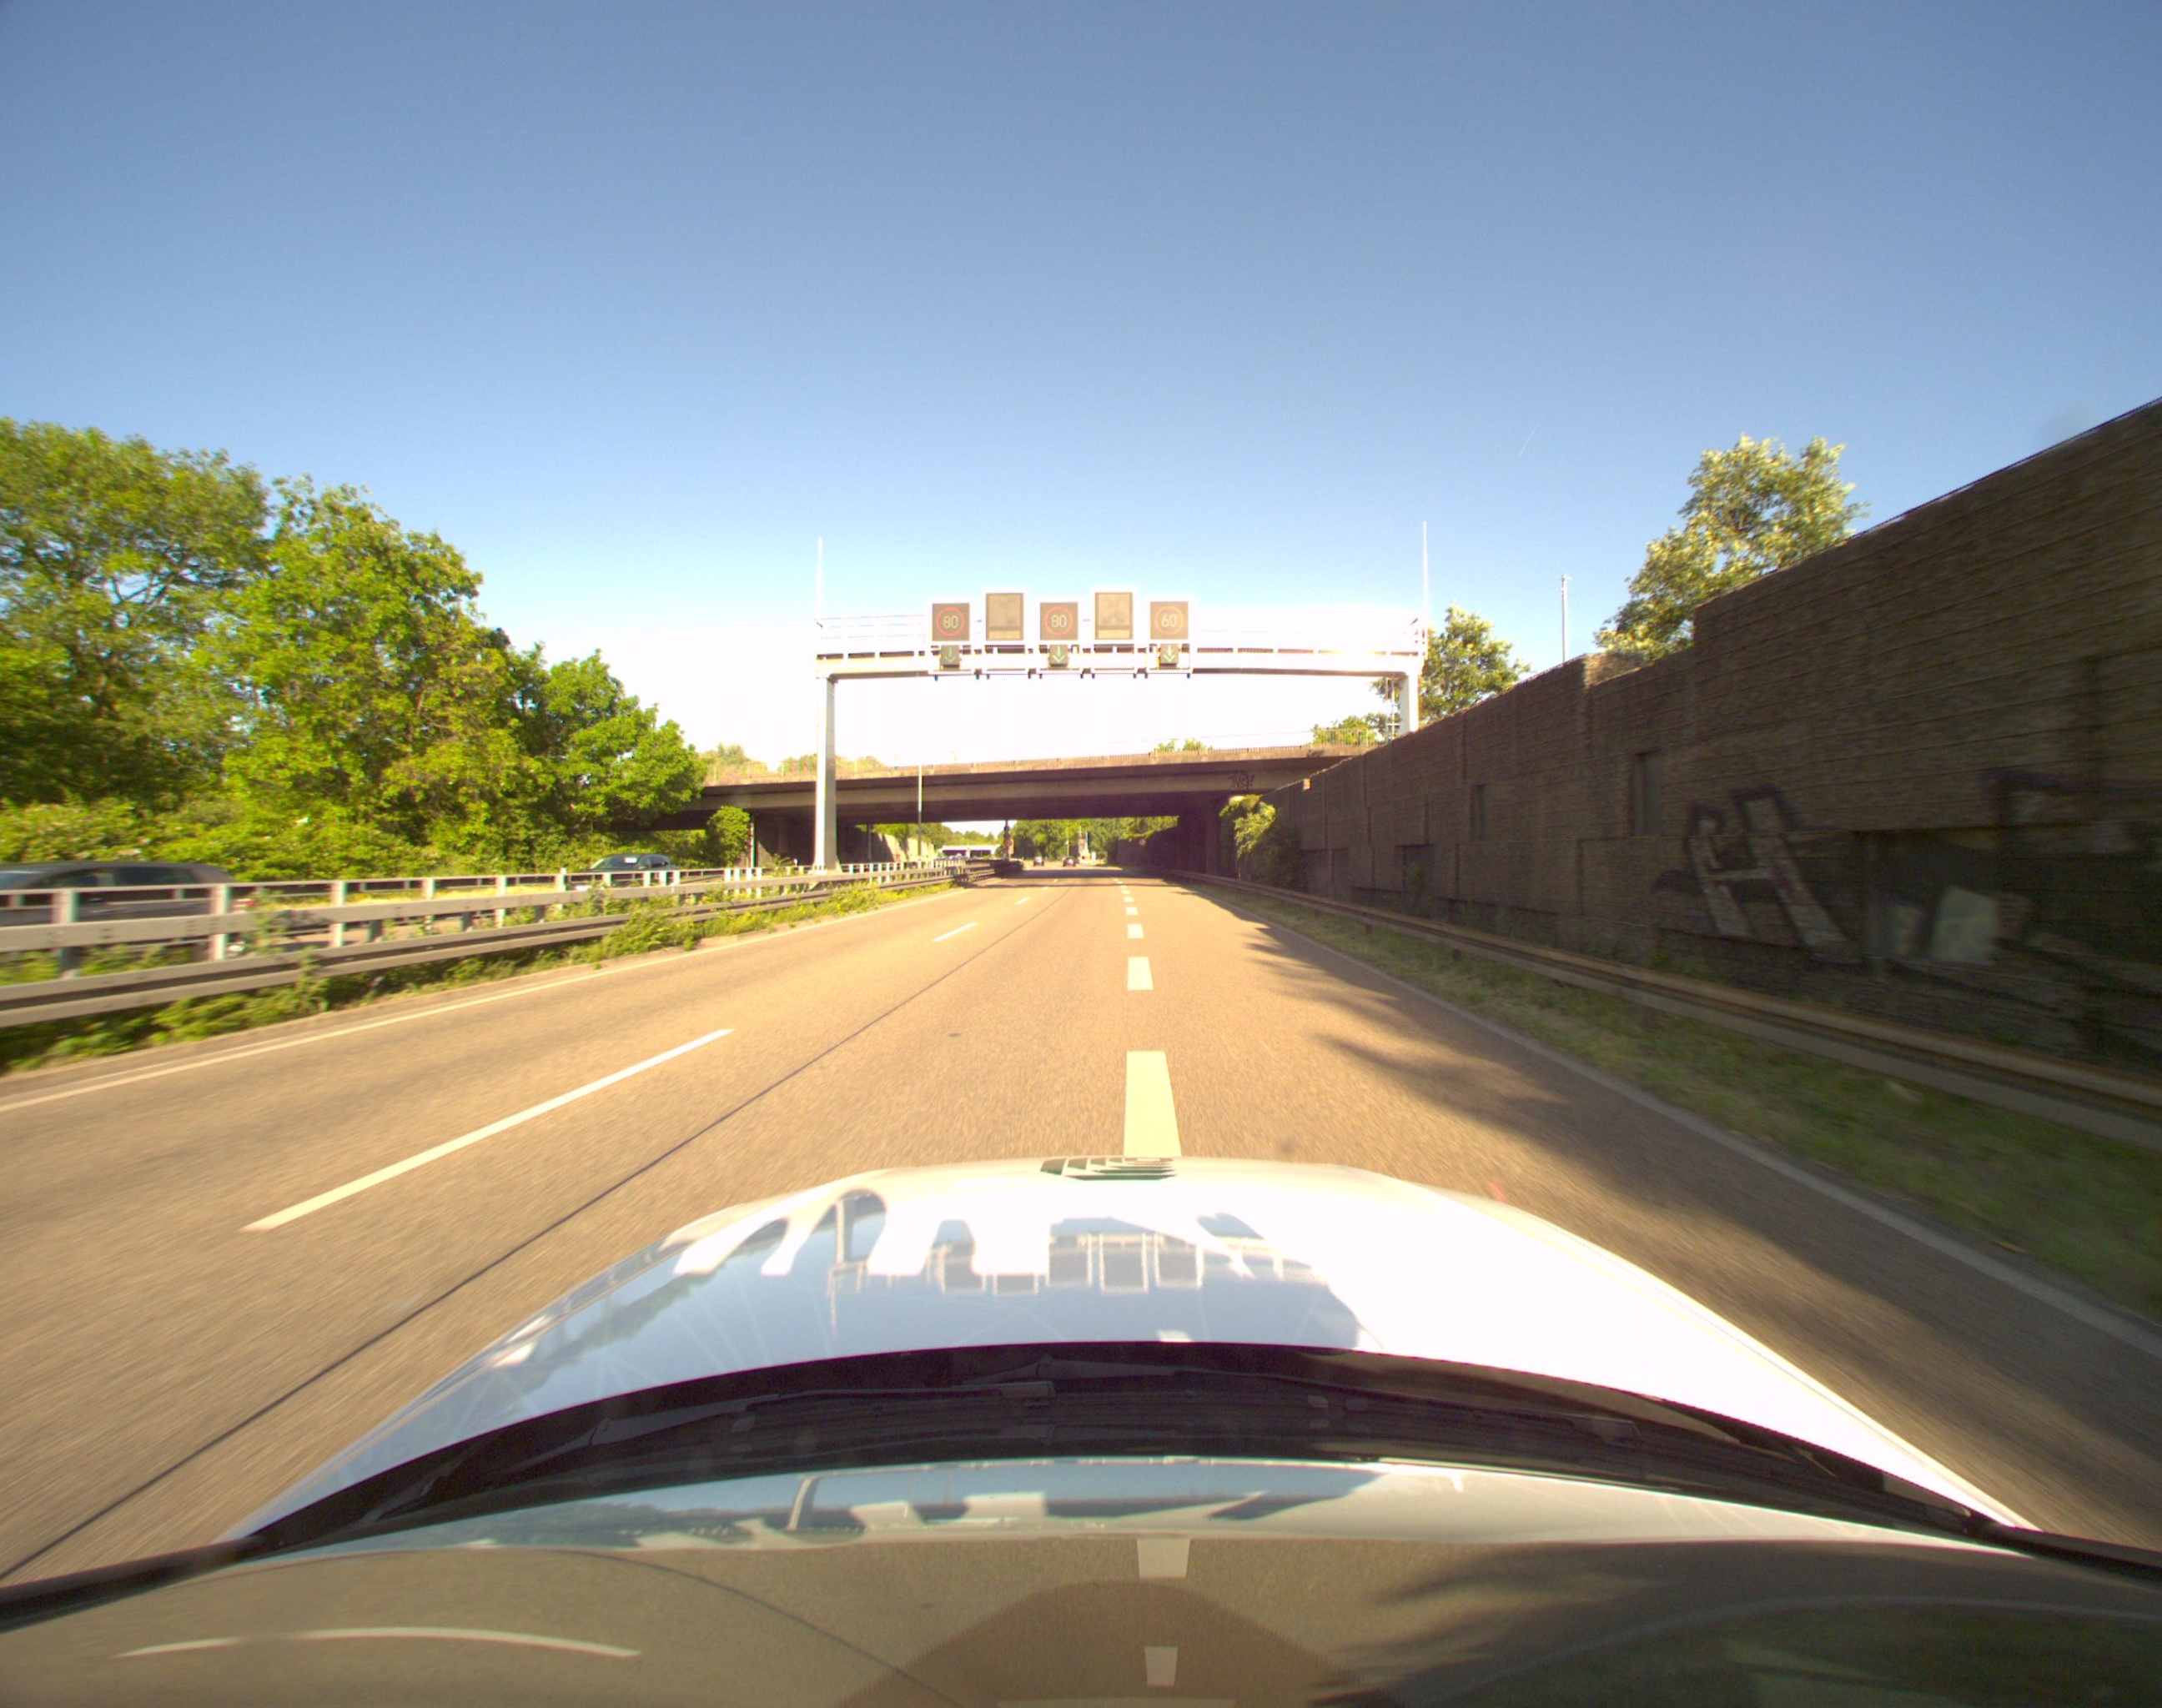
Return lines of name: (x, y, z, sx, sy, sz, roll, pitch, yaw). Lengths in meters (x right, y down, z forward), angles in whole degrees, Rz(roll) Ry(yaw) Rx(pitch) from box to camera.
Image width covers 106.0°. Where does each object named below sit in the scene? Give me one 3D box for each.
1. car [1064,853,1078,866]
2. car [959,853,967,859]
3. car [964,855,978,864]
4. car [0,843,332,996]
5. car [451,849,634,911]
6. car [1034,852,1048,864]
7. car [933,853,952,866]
car: (-1.449, 0.839, 120.801, 1.988, 1.925, 3.998, 1, 0, -1)
car: (-33.388, 0.681, 229.832, 1.894, 1.574, 4.800, 2, 0, -5)
car: (-20.893, 0.997, 154.778, 1.988, 1.596, 4.425, 0, 0, -1)
car: (-12.476, 0.692, 9.972, 1.984, 1.641, 4.727, 1, 0, 5)
car: (-15.764, 0.695, 24.219, 1.984, 1.641, 4.727, 1, 0, 5)
car: (-6.430, 0.651, 131.162, 1.988, 1.925, 3.998, 1, 0, -1)
car: (-19.940, 0.767, 117.524, 1.988, 1.706, 4.559, -1, 0, -1)
